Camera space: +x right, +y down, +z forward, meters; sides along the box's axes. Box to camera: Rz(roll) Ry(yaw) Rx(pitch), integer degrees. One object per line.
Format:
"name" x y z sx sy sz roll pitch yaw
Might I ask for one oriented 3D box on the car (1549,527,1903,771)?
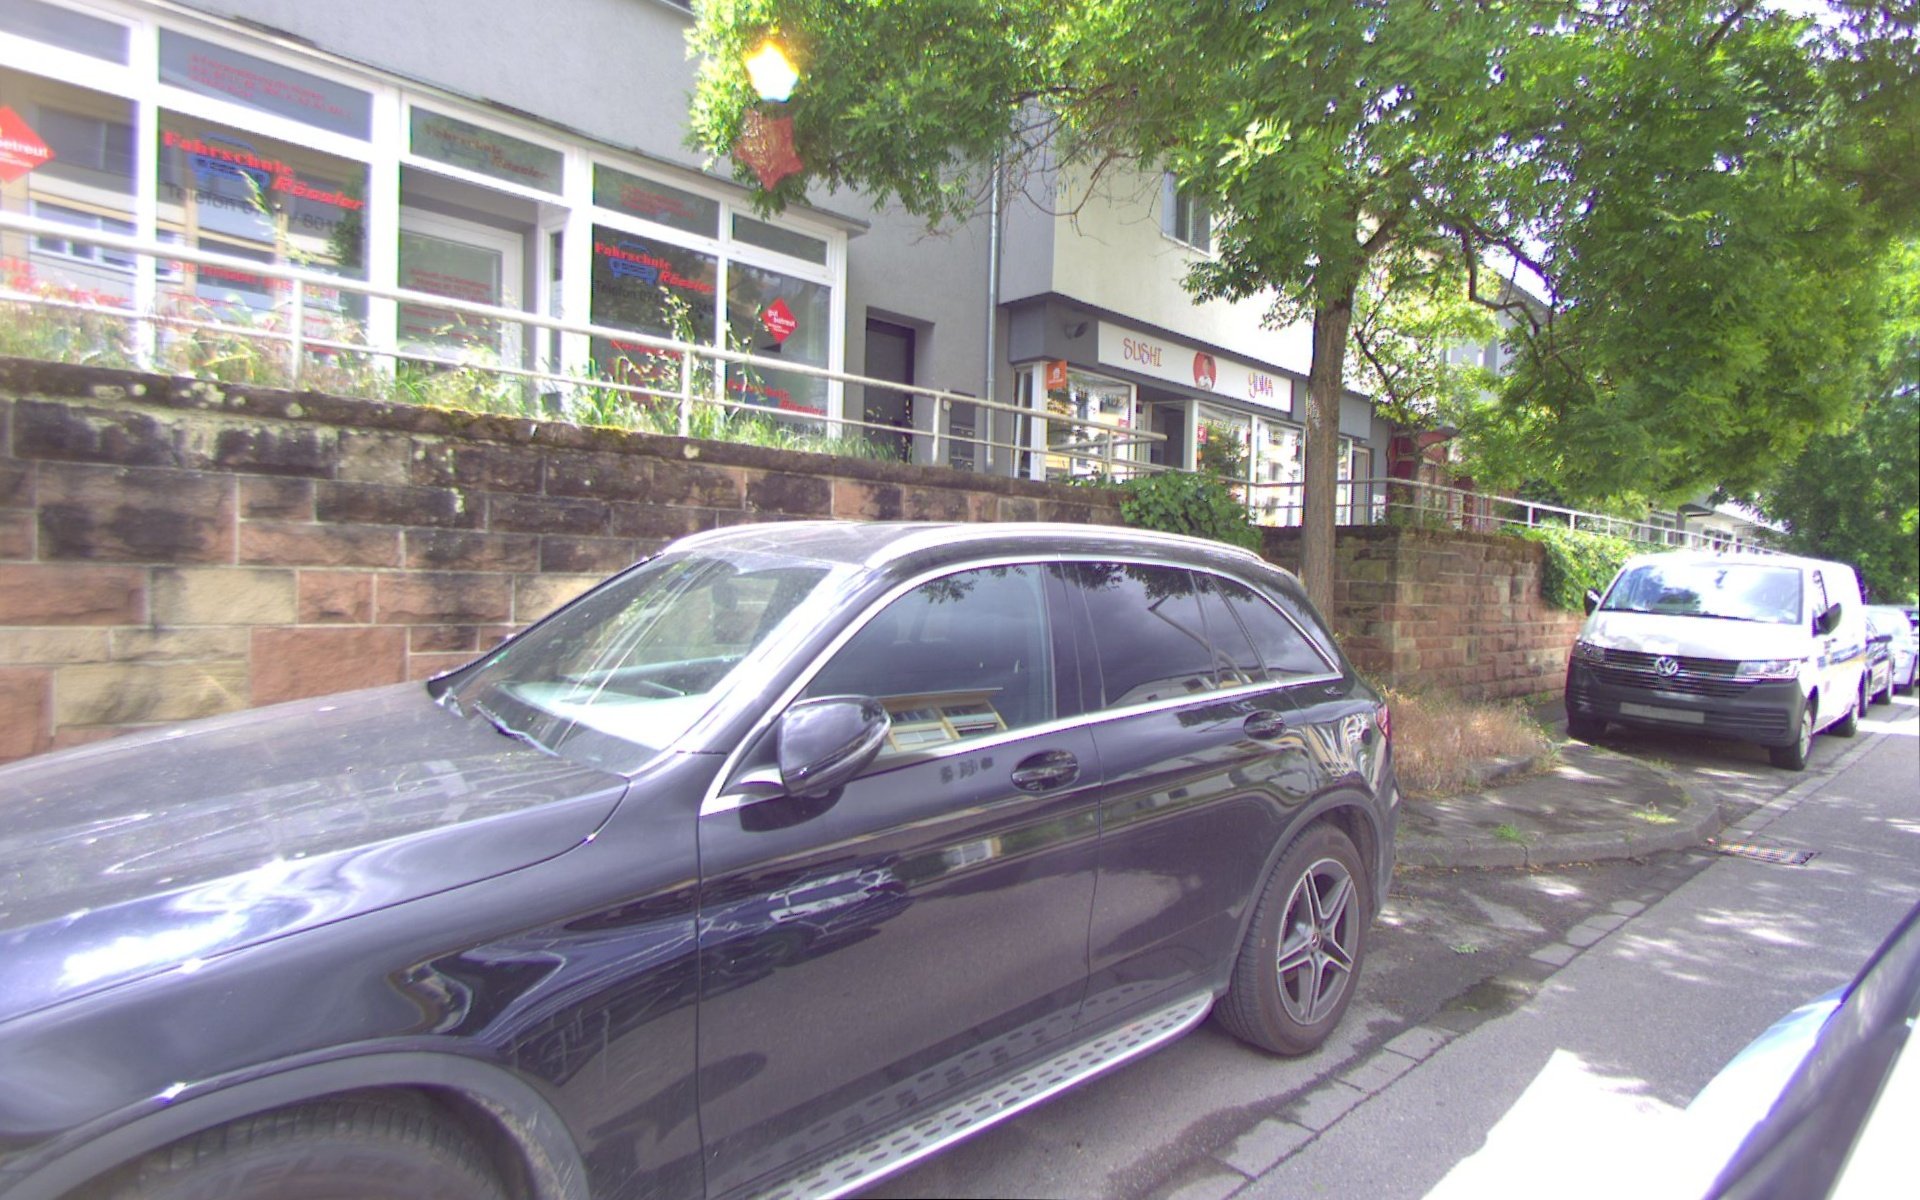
"car" 8.204 0.367 10.640 4.925 1.994 1.977 0 1 -41

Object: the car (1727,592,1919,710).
"car" 12.523 0.643 14.608 3.669 1.446 1.577 0 1 -41

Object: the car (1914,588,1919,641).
"car" 32.356 0.475 32.828 4.078 1.674 1.816 0 2 -44

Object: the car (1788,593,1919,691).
"car" 16.213 0.658 17.975 4.076 1.445 1.783 0 4 -44

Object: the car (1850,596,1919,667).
"car" 21.289 0.660 22.447 4.075 1.446 1.783 0 2 -41

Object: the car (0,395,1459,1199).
"car" -0.444 0.531 2.905 4.371 1.637 1.793 0 4 -42
